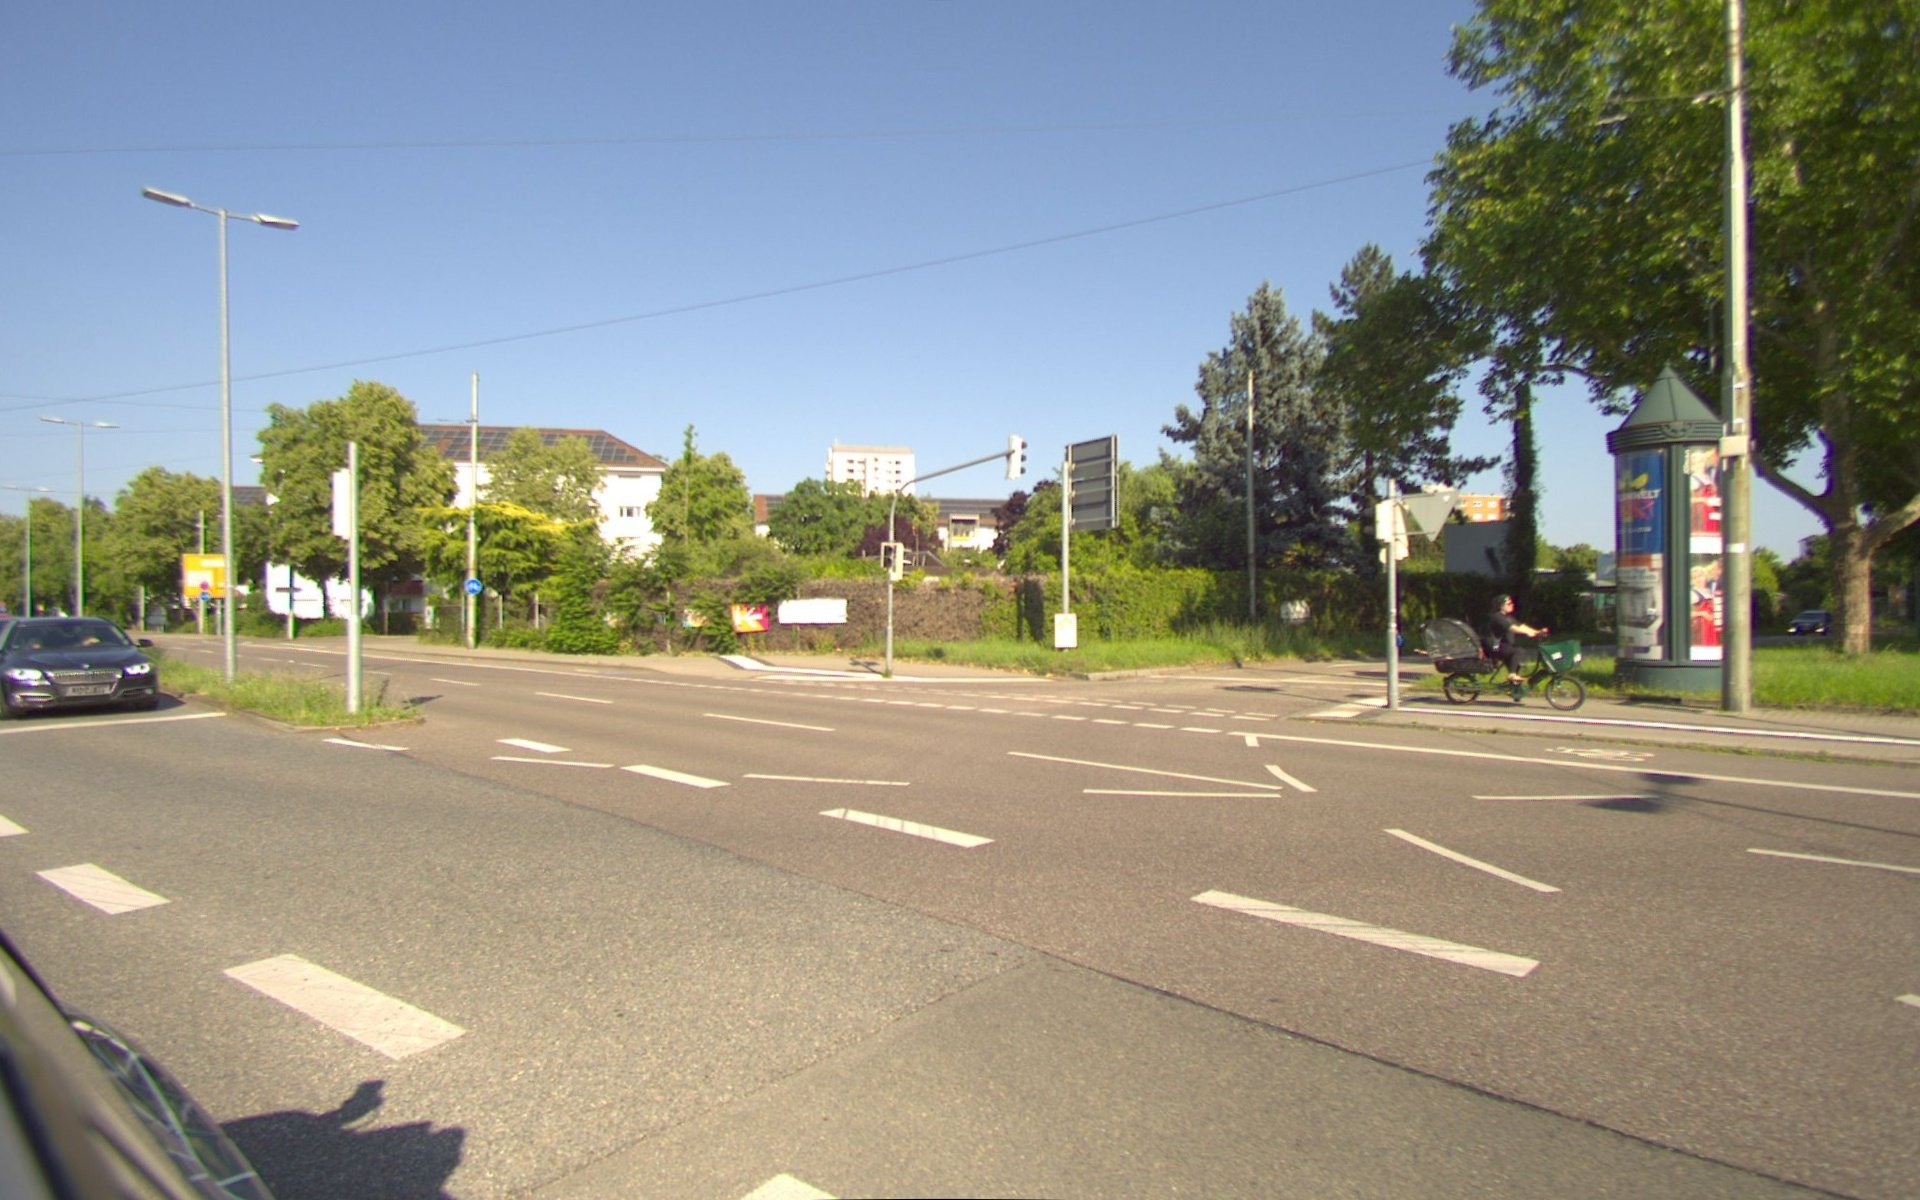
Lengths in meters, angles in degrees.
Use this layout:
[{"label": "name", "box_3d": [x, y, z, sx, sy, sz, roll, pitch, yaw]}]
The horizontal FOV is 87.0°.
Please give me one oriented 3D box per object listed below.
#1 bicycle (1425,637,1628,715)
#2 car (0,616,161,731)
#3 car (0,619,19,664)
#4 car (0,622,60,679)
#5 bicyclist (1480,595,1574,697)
[{"label": "bicycle", "box_3d": [8.468, 1.101, 15.268, 0.654, 1.057, 2.583, 0, -1, -42]}, {"label": "car", "box_3d": [-14.234, 1.053, 15.924, 4.642, 1.497, 1.742, -2, 0, 41]}, {"label": "car", "box_3d": [-36.061, 1.531, 37.424, 3.835, 1.594, 1.669, -2, 0, 45]}, {"label": "car", "box_3d": [-25.948, 1.351, 27.514, 3.830, 1.439, 1.671, -2, 0, 40]}, {"label": "bicyclist", "box_3d": [8.516, 0.670, 15.218, 0.654, 1.463, 1.052, 0, -1, -42]}]
